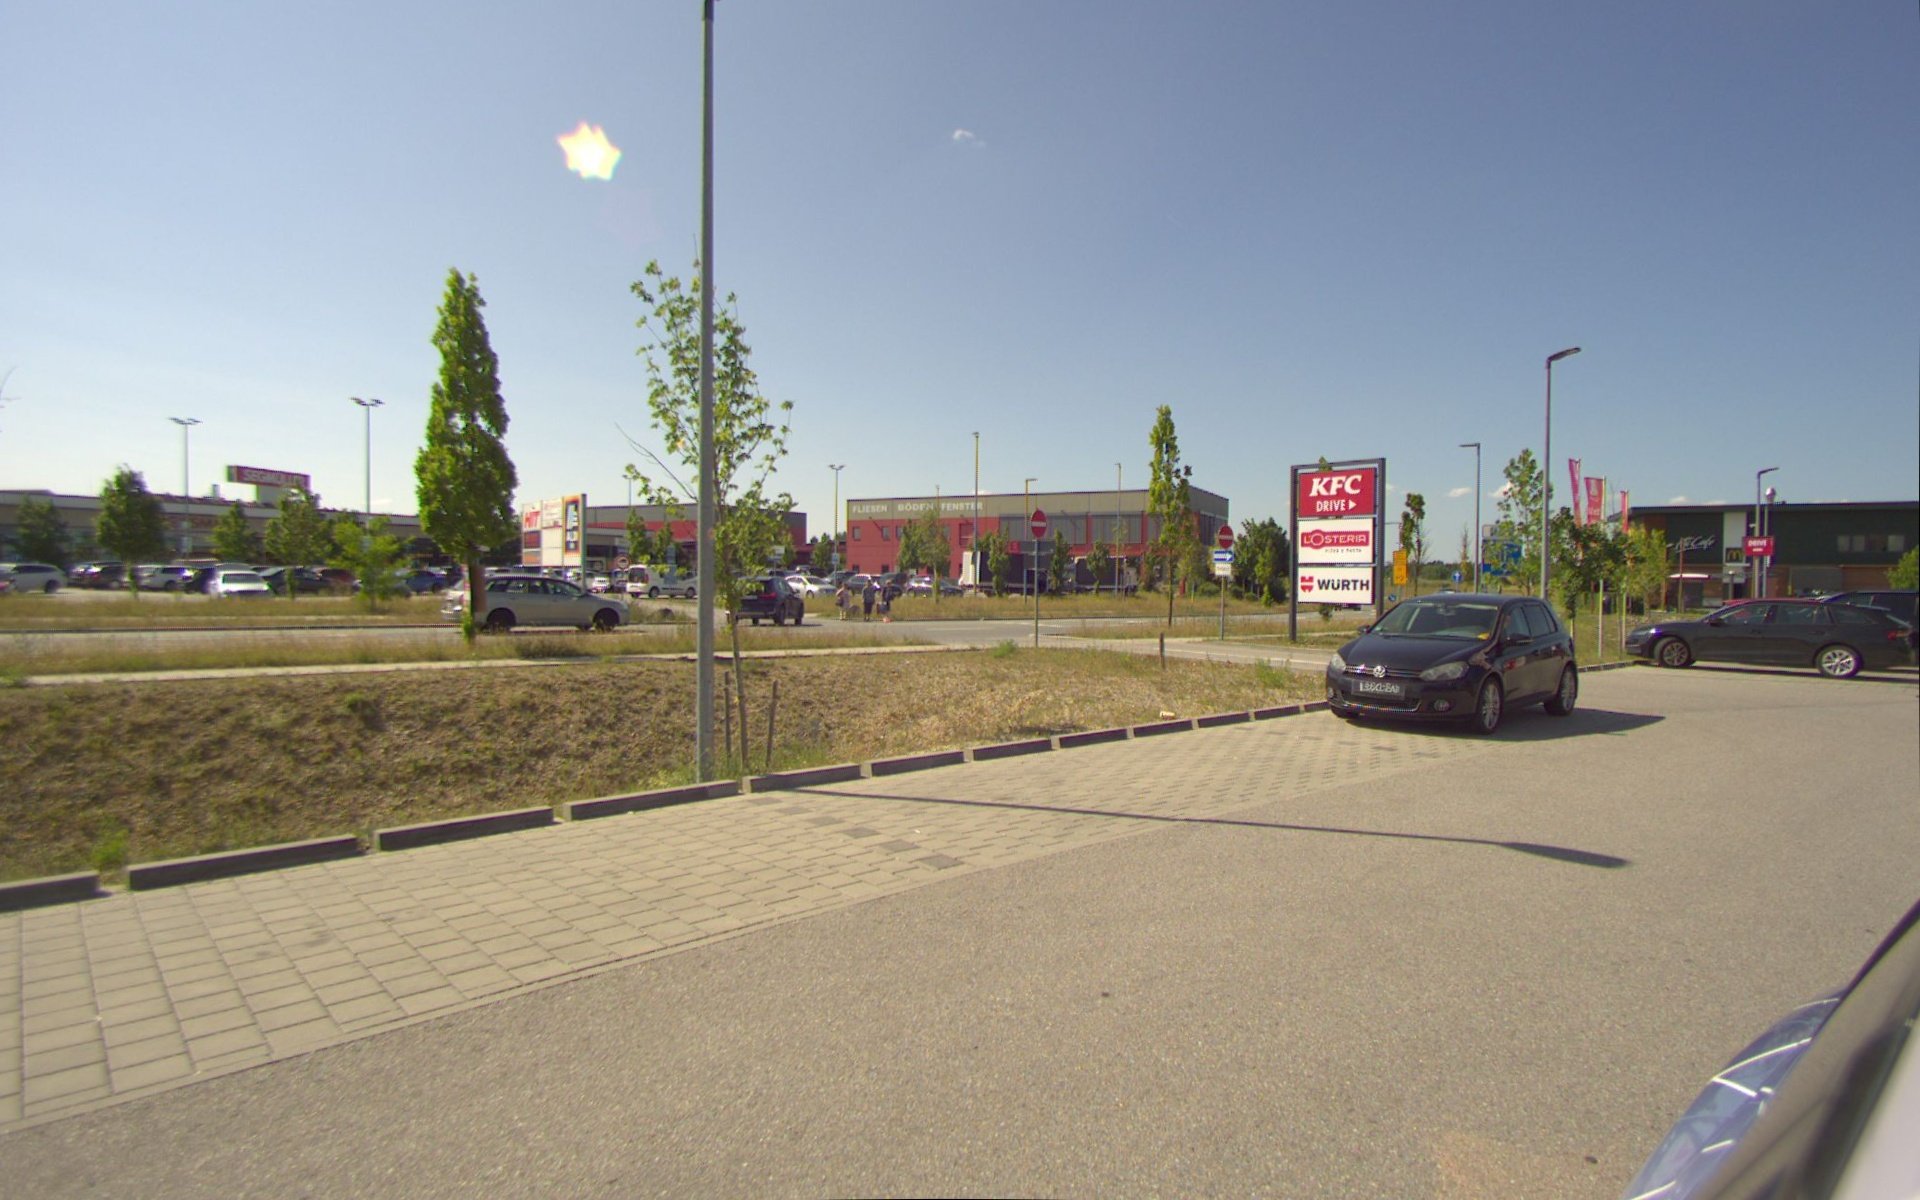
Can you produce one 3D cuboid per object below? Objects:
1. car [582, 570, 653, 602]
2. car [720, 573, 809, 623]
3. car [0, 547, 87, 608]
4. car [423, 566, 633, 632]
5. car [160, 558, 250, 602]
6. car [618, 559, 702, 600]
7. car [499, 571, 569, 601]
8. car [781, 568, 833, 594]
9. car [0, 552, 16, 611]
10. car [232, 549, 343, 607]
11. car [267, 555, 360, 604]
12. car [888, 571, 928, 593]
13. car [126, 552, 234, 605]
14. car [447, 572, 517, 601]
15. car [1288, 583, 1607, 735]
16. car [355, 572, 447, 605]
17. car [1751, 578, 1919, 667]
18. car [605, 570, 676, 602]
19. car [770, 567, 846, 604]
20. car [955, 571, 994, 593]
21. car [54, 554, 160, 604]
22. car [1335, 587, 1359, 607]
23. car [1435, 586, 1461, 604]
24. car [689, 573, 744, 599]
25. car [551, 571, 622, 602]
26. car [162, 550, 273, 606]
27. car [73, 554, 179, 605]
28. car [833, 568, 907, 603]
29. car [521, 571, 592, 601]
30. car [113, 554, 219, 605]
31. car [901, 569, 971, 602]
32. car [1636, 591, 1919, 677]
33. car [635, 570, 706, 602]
[{"bbox_3d":[-23.399,-0.953,69.294,1.981,2.063,4.441,0,1,28],"label":"car"},{"bbox_3d":[-6.490,-0.101,34.075,1.911,1.571,4.758,0,1,2],"label":"car"},{"bbox_3d":[-45.427,-1.072,49.235,1.964,2.857,4.481,0,1,3],"label":"car"},{"bbox_3d":[-11.145,-0.055,26.291,4.677,1.571,1.944,-1,1,-41],"label":"car"},{"bbox_3d":[-50.759,-1.312,68.110,1.981,2.857,4.441,0,1,28],"label":"car"},{"bbox_3d":[-17.107,-1.161,57.884,1.985,2.214,4.433,0,1,32],"label":"car"},{"bbox_3d":[-30.463,-0.989,72.525,1.981,2.063,4.441,0,1,28],"label":"car"},{"bbox_3d":[-12.565,-1.549,83.281,1.981,2.063,4.441,0,1,28],"label":"car"},{"bbox_3d":[-34.789,-0.685,35.925,1.851,2.039,4.130,0,1,-43],"label":"car"},{"bbox_3d":[-34.505,-1.118,52.055,1.976,2.857,4.452,0,1,22],"label":"car"},{"bbox_3d":[-38.839,-1.229,60.954,1.976,2.857,4.452,0,1,22],"label":"car"},{"bbox_3d":[-5.077,-1.774,100.144,1.981,2.063,4.441,0,1,28],"label":"car"},{"bbox_3d":[-43.845,-1.174,56.989,1.981,2.857,4.441,0,1,28],"label":"car"},{"bbox_3d":[-35.173,-1.011,74.575,1.981,2.063,4.441,0,1,28],"label":"car"},{"bbox_3d":[5.939,0.566,12.109,4.287,1.484,1.876,0,1,-41],"label":"car"},{"bbox_3d":[-31.763,-0.667,57.616,1.981,1.806,4.274,0,1,28],"label":"car"},{"bbox_3d":[20.496,0.460,22.239,1.963,1.858,4.533,0,1,-36],"label":"car"},{"bbox_3d":[-21.272,-0.933,67.600,1.981,2.063,4.441,0,1,28],"label":"car"},{"bbox_3d":[-8.900,-0.832,59.033,4.464,2.063,1.971,0,1,40],"label":"car"},{"bbox_3d":[1.398,-1.726,96.068,1.981,2.063,4.441,0,1,28],"label":"car"},{"bbox_3d":[-50.802,-1.212,60.382,1.981,2.857,4.441,0,1,28],"label":"car"},{"bbox_3d":[31.980,-0.271,83.612,1.807,1.560,3.971,1,1,21],"label":"car"},{"bbox_3d":[42.796,-0.465,88.865,1.808,1.560,3.970,1,1,23],"label":"car"},{"bbox_3d":[-19.844,-1.130,82.739,1.981,2.063,4.441,0,1,28],"label":"car"},{"bbox_3d":[-25.860,-0.962,70.196,1.981,2.063,4.441,0,1,28],"label":"car"},{"bbox_3d":[-39.578,-1.140,54.064,1.976,2.857,4.452,0,1,22],"label":"car"},{"bbox_3d":[-48.844,-1.201,59.381,1.981,2.857,4.441,0,1,28],"label":"car"},{"bbox_3d":[-5.603,-0.882,62.710,4.464,2.063,1.971,0,1,40],"label":"car"},{"bbox_3d":[-28.381,-0.975,71.341,1.981,2.063,4.441,0,1,28],"label":"car"},{"bbox_3d":[-46.131,-1.197,58.897,1.981,2.857,4.441,0,1,28],"label":"car"},{"bbox_3d":[-1.612,-0.935,66.511,4.464,2.063,1.971,0,1,40],"label":"car"},{"bbox_3d":[16.552,0.598,20.489,4.519,1.477,1.969,2,1,44],"label":"car"},{"bbox_3d":[-18.862,-0.916,66.172,1.981,2.063,4.441,0,1,28],"label":"car"}]
